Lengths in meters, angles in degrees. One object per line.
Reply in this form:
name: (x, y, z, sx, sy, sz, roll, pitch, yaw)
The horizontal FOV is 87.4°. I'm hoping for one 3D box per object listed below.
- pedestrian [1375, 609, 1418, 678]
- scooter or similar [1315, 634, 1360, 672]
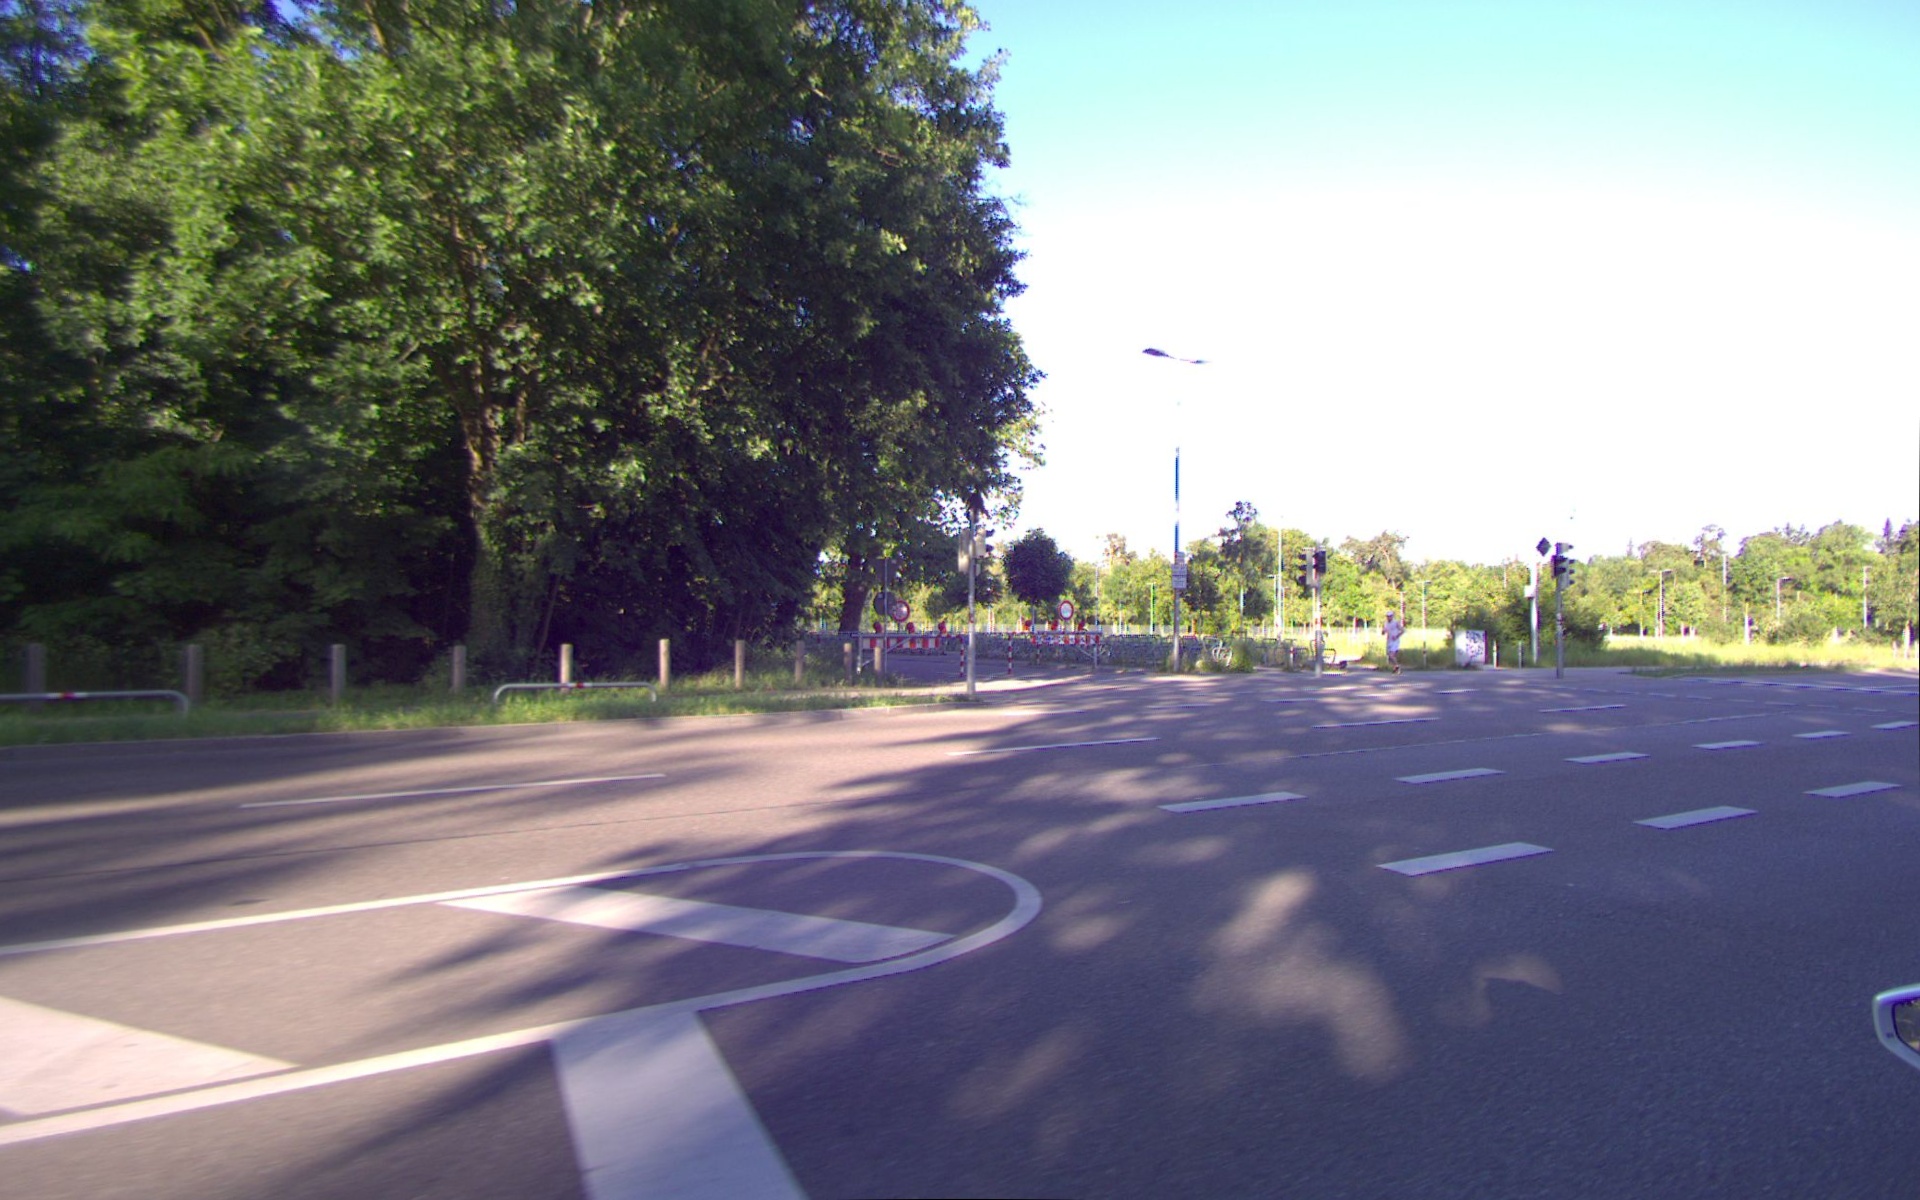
pedestrian: (12.521, 1.254, 28.804, 1.094, 1.934, 0.609, 2, -2, -31)
scooter or similar: (12.416, 1.744, 33.033, 1.337, 1.240, 0.511, 1, -2, -17)
